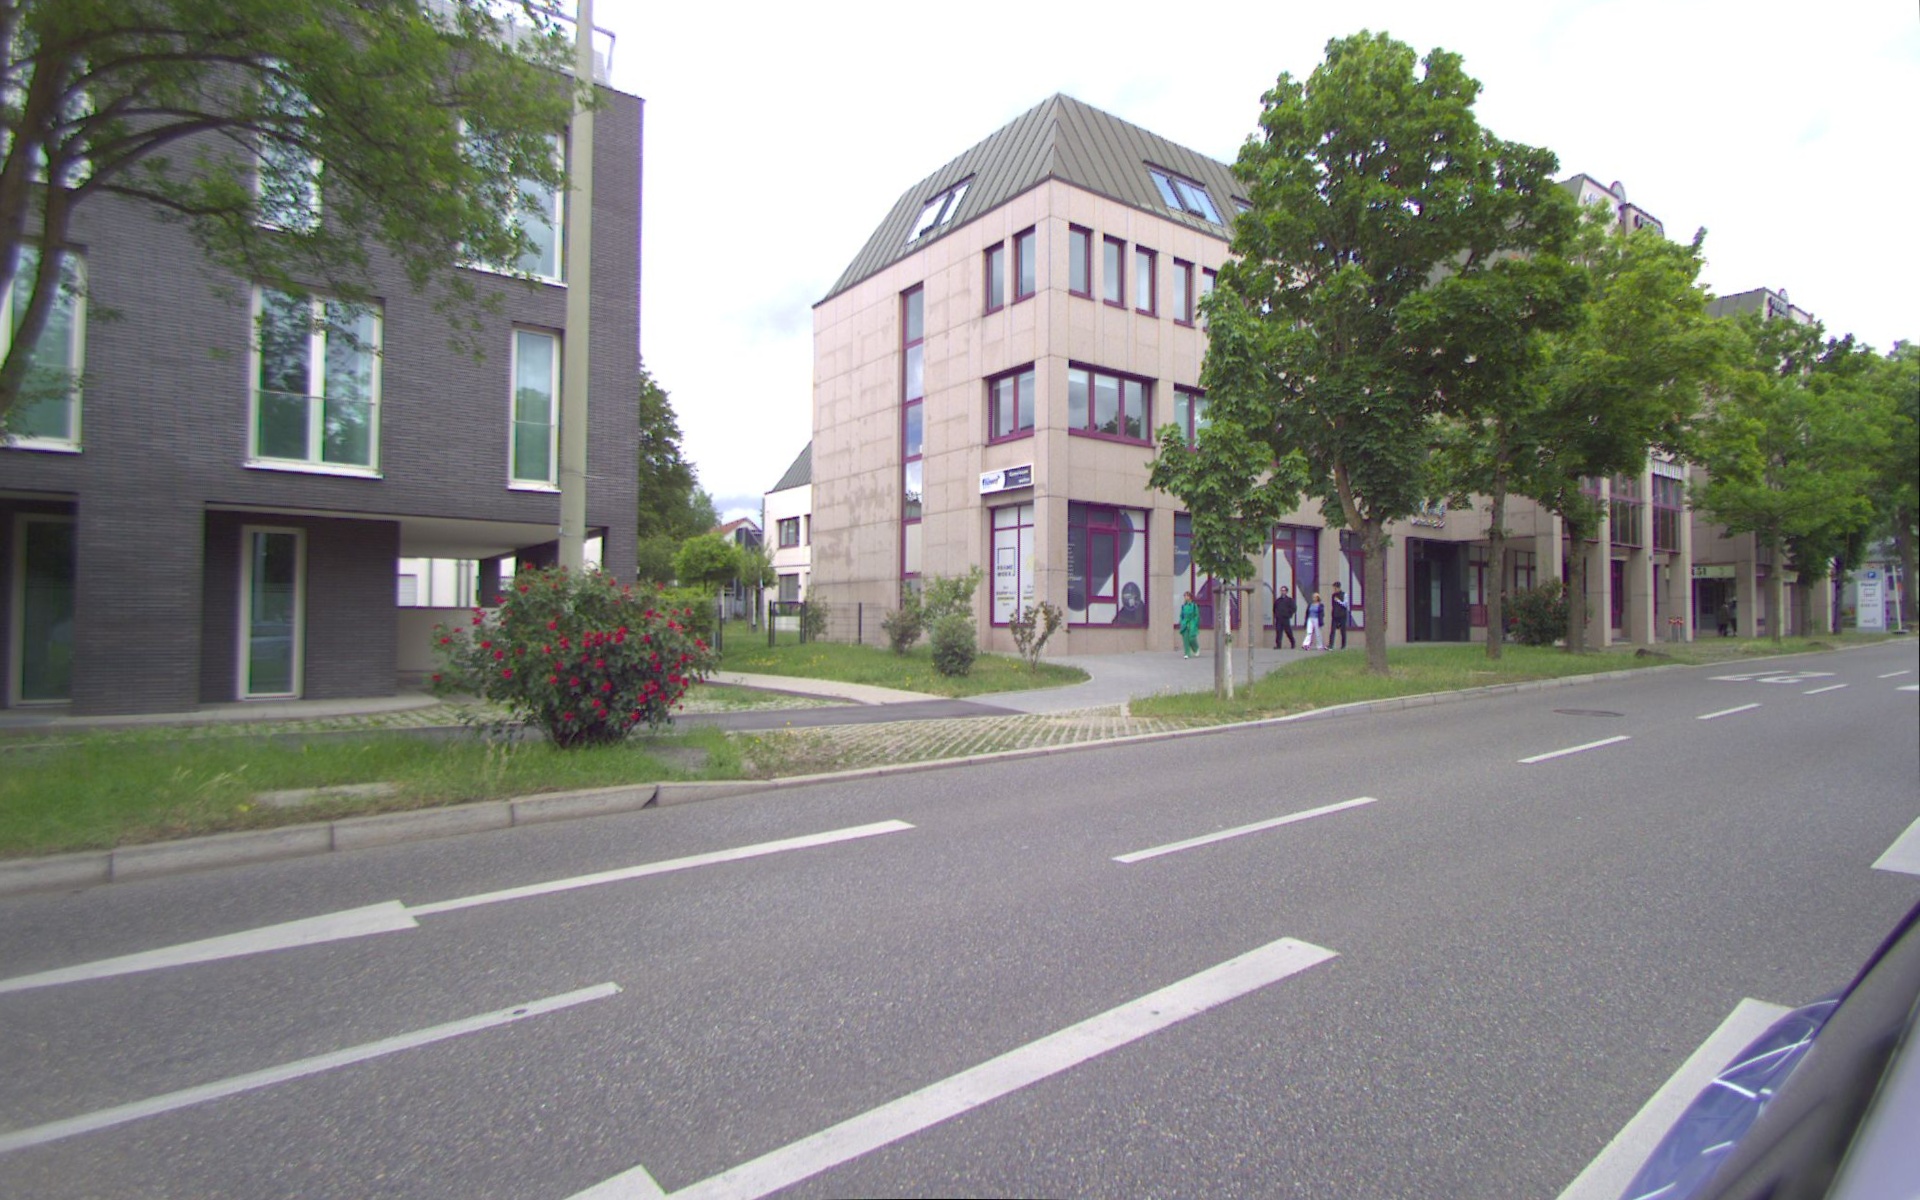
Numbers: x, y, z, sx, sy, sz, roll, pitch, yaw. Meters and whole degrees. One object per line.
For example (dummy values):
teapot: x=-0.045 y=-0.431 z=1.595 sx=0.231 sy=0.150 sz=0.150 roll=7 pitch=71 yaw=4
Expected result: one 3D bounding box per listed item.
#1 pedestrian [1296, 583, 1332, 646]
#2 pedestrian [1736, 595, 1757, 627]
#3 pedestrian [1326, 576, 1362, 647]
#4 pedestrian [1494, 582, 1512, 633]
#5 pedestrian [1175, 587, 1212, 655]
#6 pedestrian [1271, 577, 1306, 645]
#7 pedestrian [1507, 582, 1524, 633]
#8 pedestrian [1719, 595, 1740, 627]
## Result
pedestrian: x=9.499 y=0.385 z=27.152 sx=0.665 sy=1.668 sz=0.642 roll=0 pitch=-1 yaw=-41
pedestrian: x=34.970 y=0.488 z=44.999 sx=0.629 sy=1.422 sz=0.607 roll=0 pitch=0 yaw=-38
pedestrian: x=10.100 y=0.293 z=26.617 sx=0.665 sy=1.828 sz=0.642 roll=0 pitch=-1 yaw=-41
pedestrian: x=18.506 y=0.254 z=34.468 sx=0.393 sy=1.715 sz=0.400 roll=0 pitch=-1 yaw=-38
pedestrian: x=5.431 y=0.486 z=23.510 sx=0.665 sy=1.537 sz=0.496 roll=0 pitch=2 yaw=-41
pedestrian: x=8.971 y=0.289 z=27.608 sx=0.665 sy=1.828 sz=0.642 roll=0 pitch=-1 yaw=-41
pedestrian: x=18.754 y=0.256 z=34.187 sx=0.349 sy=1.715 sz=0.380 roll=0 pitch=-1 yaw=-38
pedestrian: x=34.779 y=0.508 z=45.738 sx=0.510 sy=1.422 sz=0.667 roll=0 pitch=0 yaw=-39
